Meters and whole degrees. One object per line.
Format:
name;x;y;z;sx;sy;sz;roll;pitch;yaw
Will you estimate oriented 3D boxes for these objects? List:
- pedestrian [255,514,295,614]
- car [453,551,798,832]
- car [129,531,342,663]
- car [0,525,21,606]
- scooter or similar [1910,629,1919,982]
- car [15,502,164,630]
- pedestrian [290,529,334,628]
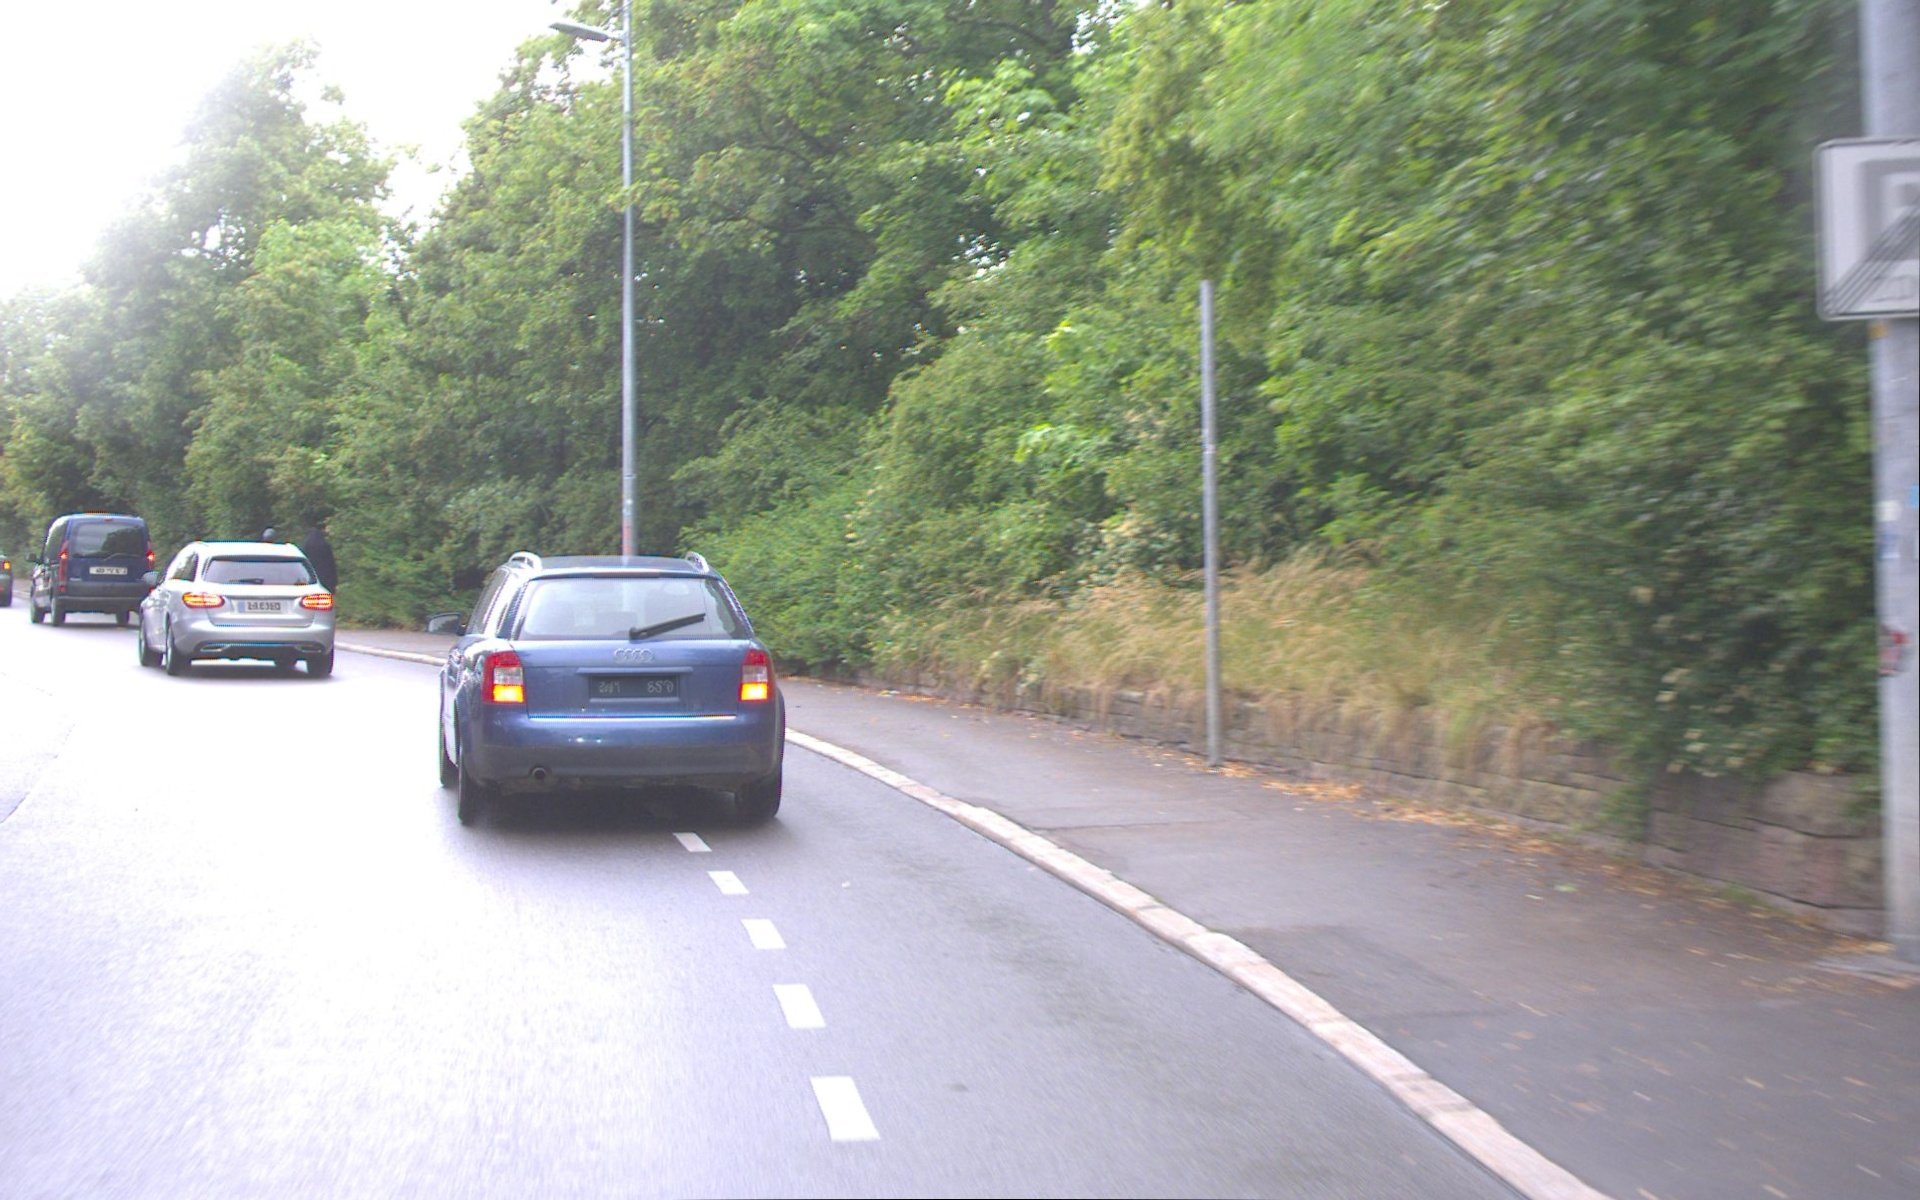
pedestrian;-10.803;-0.566;54.230;0.552;1.561;0.487;-1;1;-17
car;-1.937;0.434;19.522;1.747;1.403;4.001;0;1;-7
car;-8.184;-0.072;38.591;1.890;1.384;4.001;0;1;-18
car;-20.471;-0.708;70.393;1.821;1.611;3.786;-1;1;-24
scooter or similar;3.472;0.652;10.301;0.346;1.113;1.423;0;1;-26
car;-14.434;-0.534;56.871;1.788;1.947;4.001;-3;1;-21
pedestrian;-10.251;-0.345;54.384;0.595;1.561;0.669;0;1;-18
